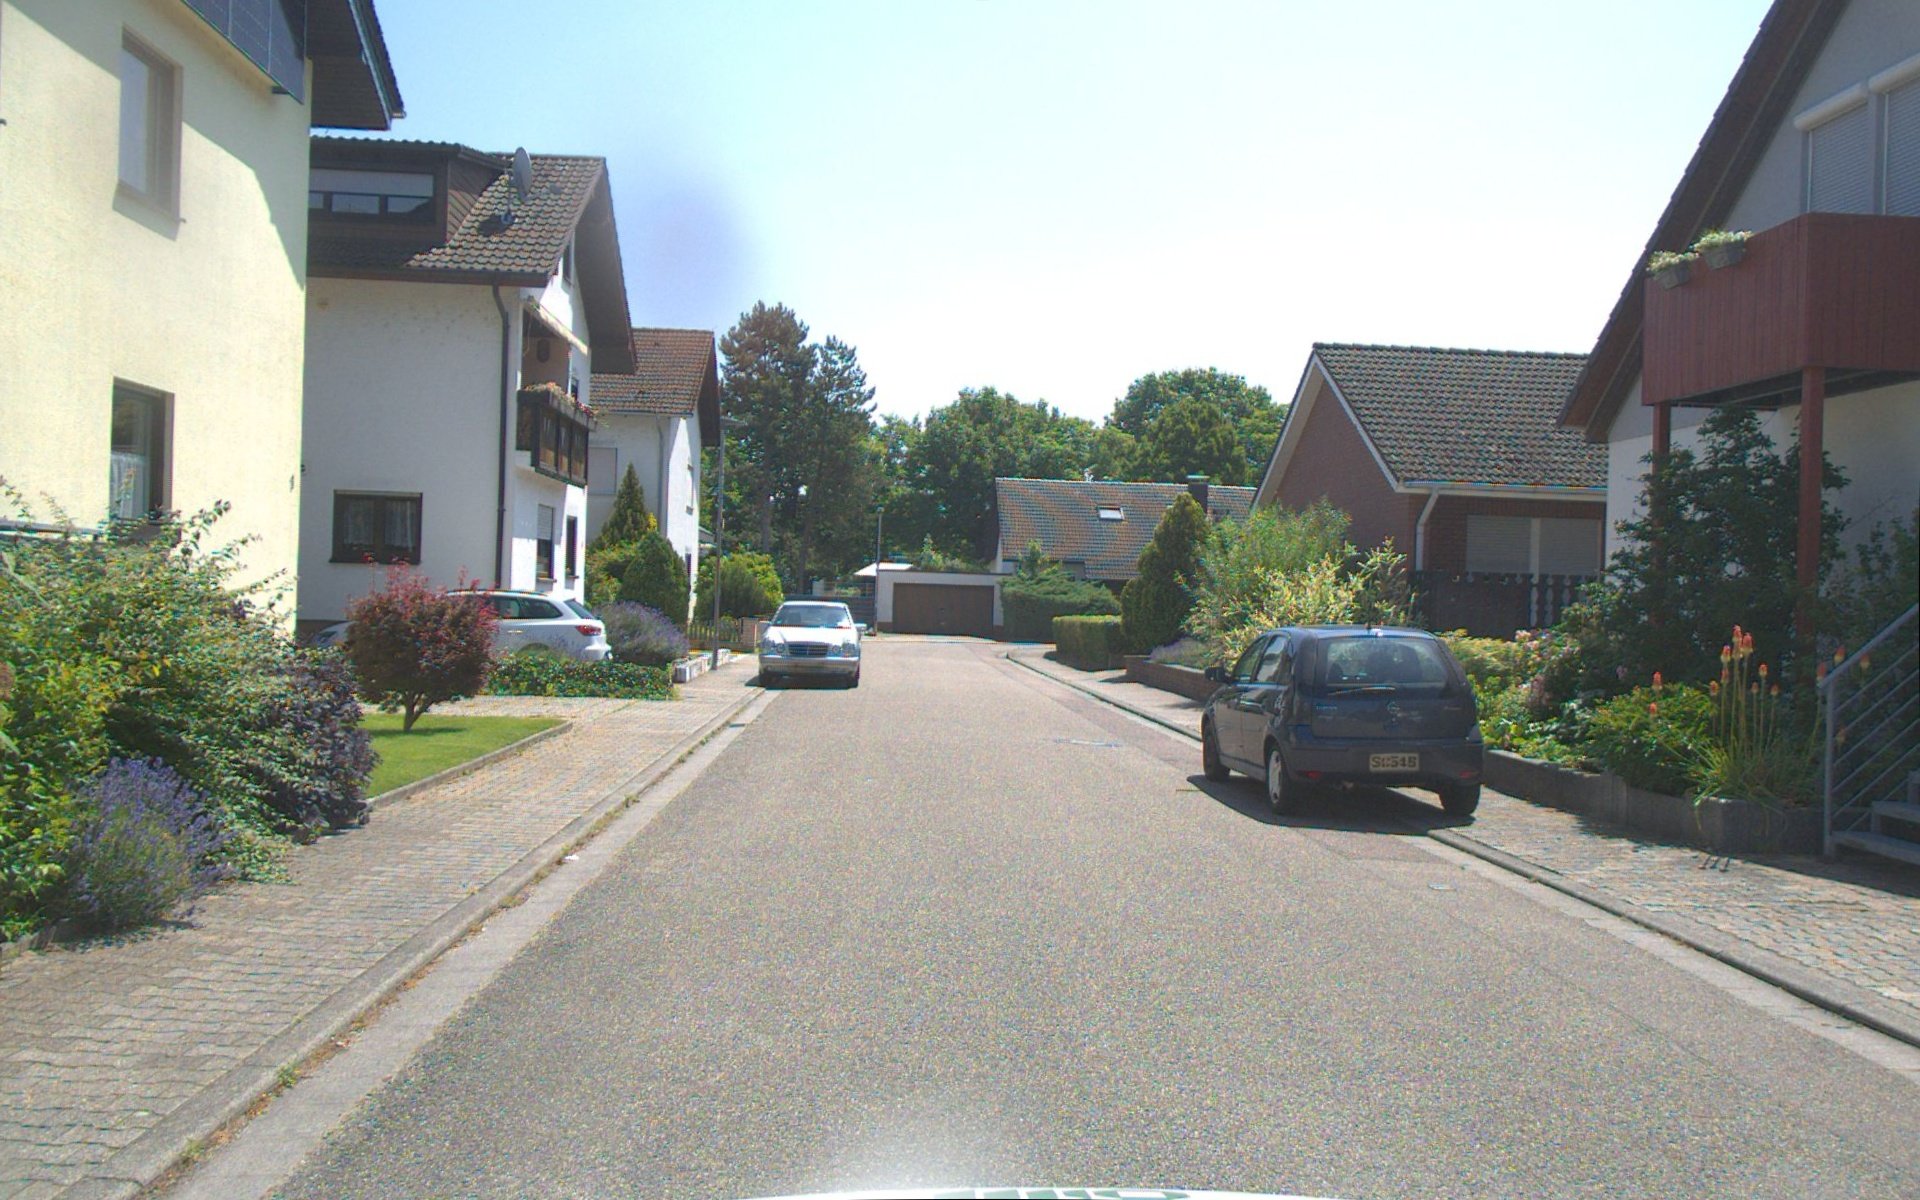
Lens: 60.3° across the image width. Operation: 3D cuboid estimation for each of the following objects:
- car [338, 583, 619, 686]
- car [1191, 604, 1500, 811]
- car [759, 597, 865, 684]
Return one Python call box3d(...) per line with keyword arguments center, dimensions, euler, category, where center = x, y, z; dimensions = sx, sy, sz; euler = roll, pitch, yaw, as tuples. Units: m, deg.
box3d(center=(-7.363, 0.520, 25.660), dimensions=(3.913, 1.445, 1.842), euler=(2, 0, -9), category="car")
box3d(center=(3.108, 0.801, 14.045), dimensions=(1.617, 1.465, 3.650), euler=(1, 0, -2), category="car")
box3d(center=(-2.618, 0.675, 30.005), dimensions=(1.665, 1.417, 4.335), euler=(1, 0, -2), category="car")
